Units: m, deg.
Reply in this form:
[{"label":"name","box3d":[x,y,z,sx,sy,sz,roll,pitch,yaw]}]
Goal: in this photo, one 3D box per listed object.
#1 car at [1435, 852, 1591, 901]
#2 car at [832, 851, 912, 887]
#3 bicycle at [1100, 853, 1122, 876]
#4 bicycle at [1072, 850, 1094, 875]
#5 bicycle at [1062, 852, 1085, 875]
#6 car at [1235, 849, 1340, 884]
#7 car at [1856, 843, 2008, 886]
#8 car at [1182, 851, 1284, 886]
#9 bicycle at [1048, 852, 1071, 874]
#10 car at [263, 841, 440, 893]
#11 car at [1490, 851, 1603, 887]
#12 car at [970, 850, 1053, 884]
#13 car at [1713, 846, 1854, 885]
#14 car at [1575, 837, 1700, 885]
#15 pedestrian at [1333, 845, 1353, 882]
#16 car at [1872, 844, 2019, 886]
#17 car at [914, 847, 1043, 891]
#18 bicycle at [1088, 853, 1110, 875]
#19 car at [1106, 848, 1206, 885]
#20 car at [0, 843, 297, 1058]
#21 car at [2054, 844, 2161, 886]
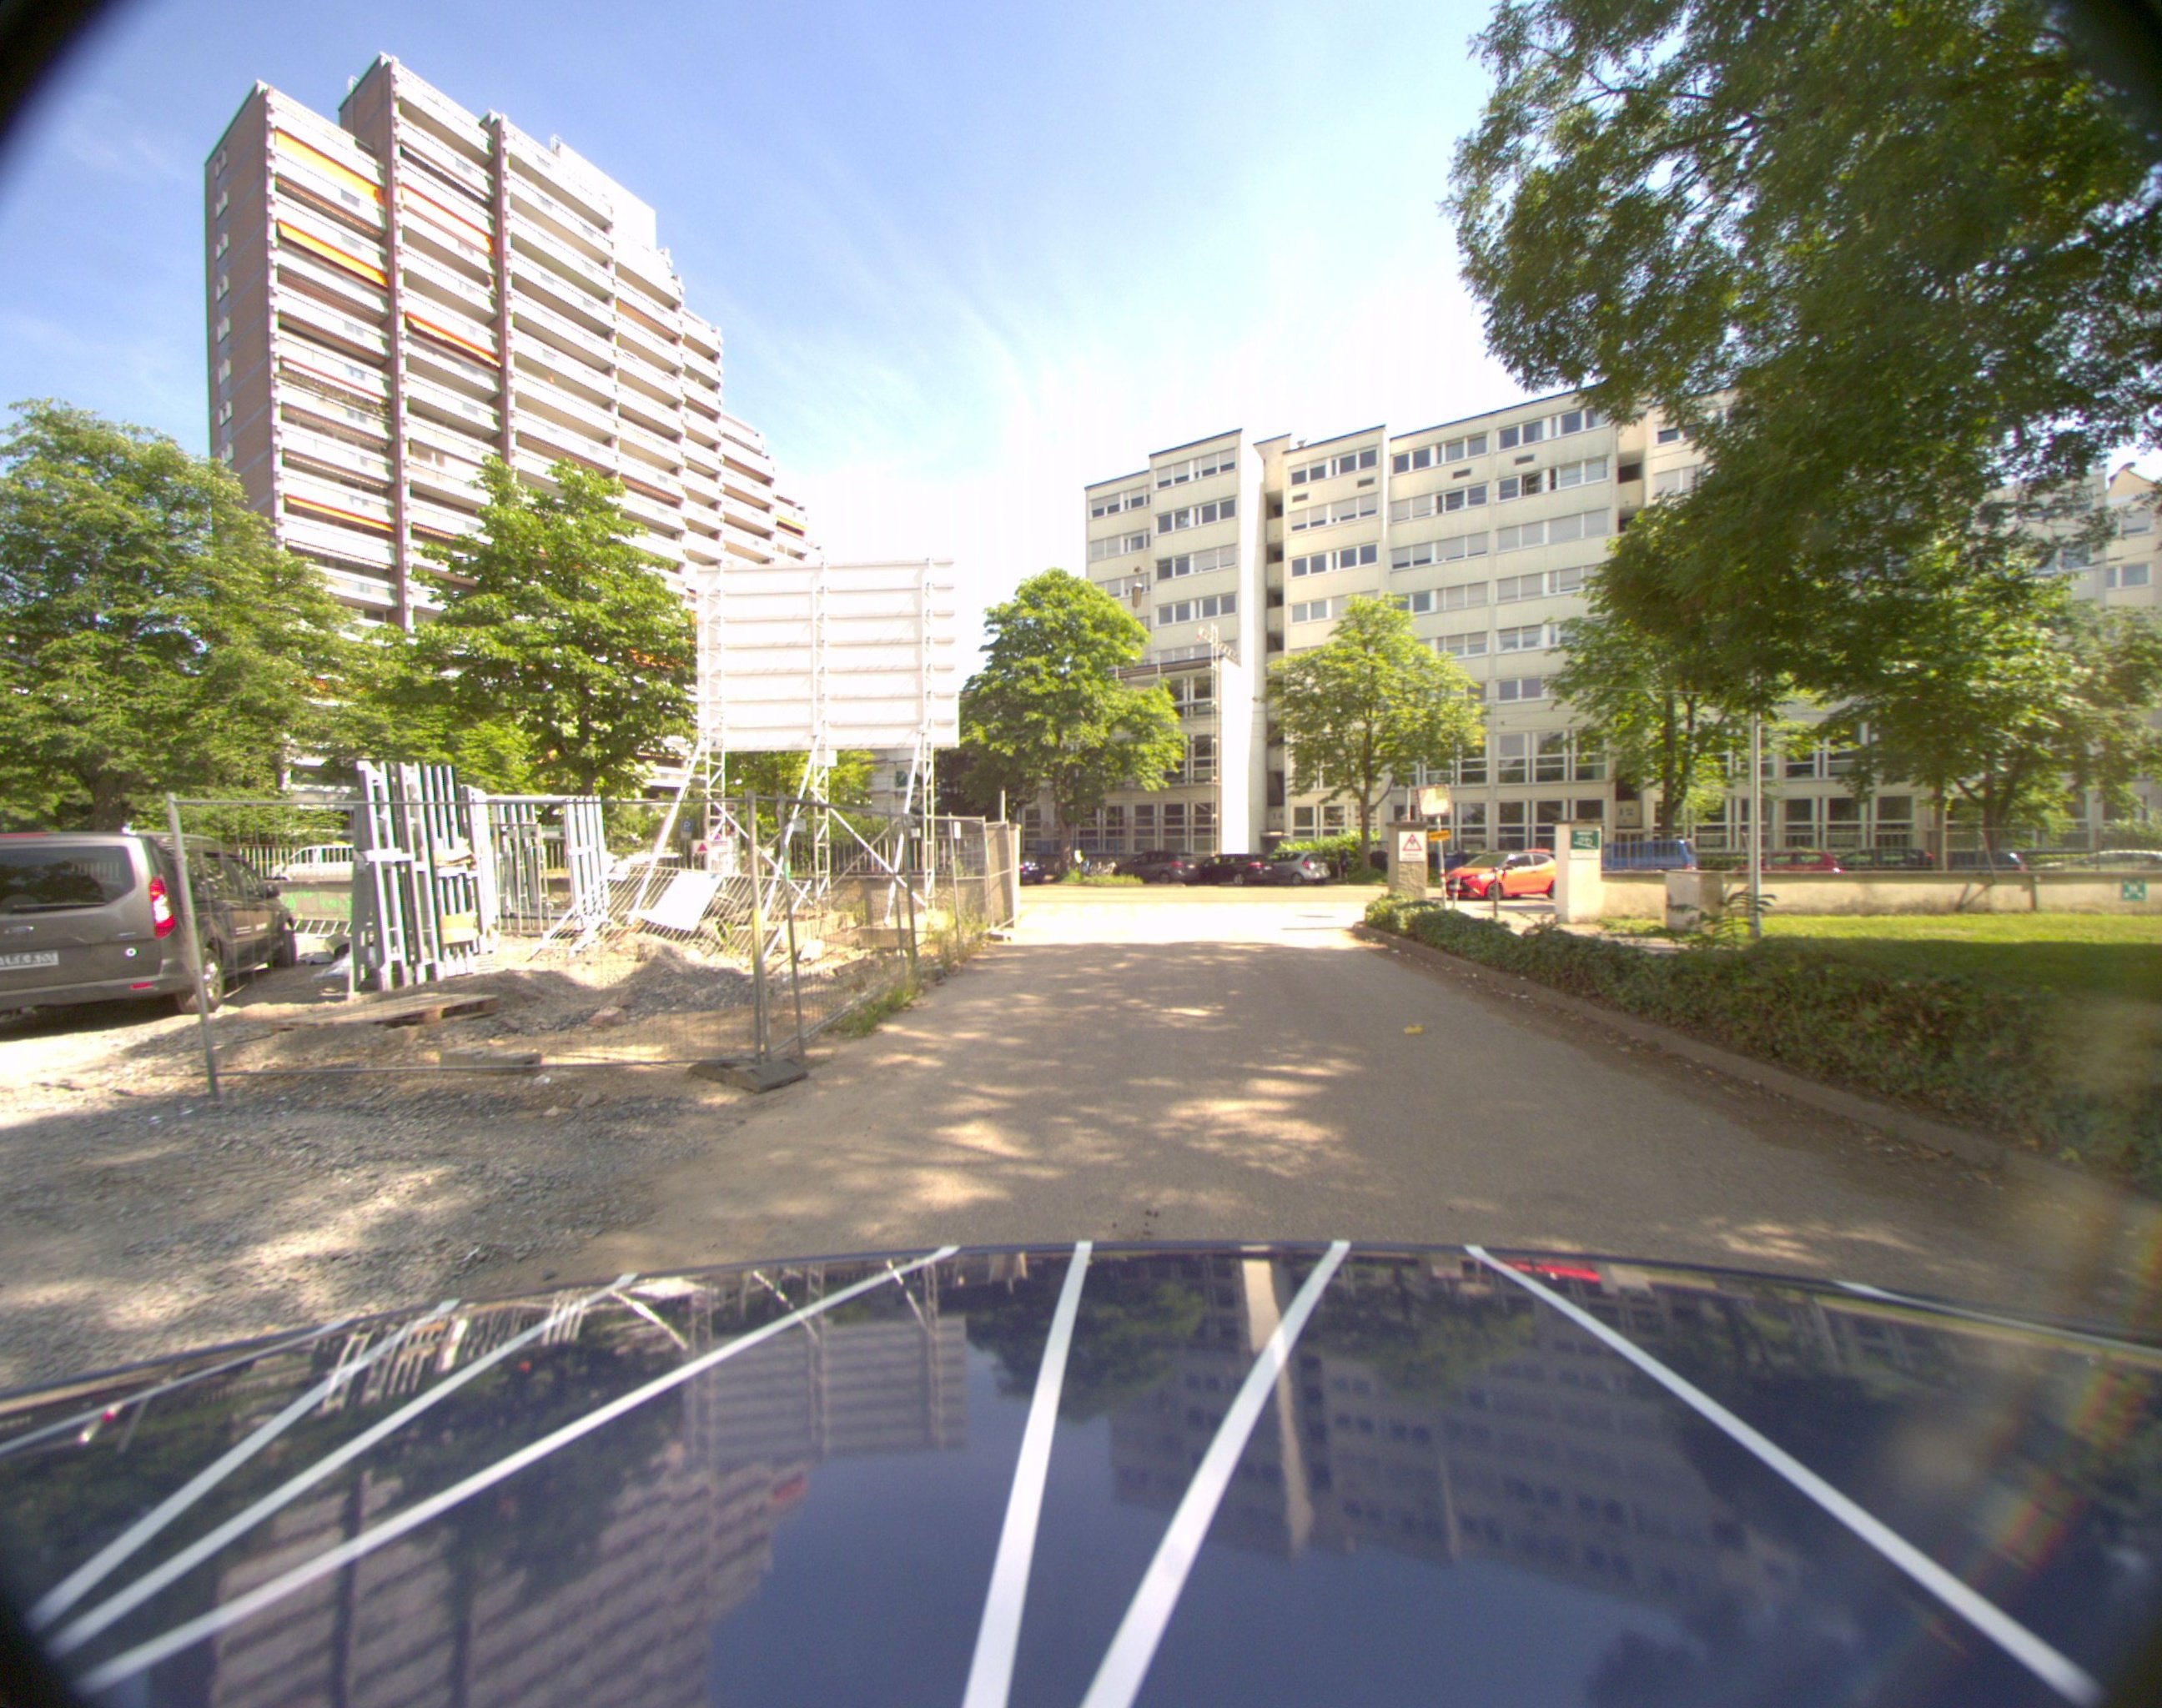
[{"label":"car","box3d":[13.226,0.657,23.326,4.177,1.404,1.660,0,0,-14]},{"label":"car","box3d":[-9.670,0.642,34.974,1.846,1.402,4.135,-3,3,-42]},{"label":"bicycle","box3d":[1.641,0.557,41.176,0.488,1.193,2.020,0,1,23]},{"label":"bicycle","box3d":[0.120,0.457,41.862,0.488,1.370,2.020,0,1,23]},{"label":"bicycle","box3d":[-0.402,0.518,42.048,0.488,1.193,2.020,0,1,23]},{"label":"car","box3d":[9.328,0.543,34.573,1.806,1.477,4.327,-1,0,-41]},{"label":"car","box3d":[34.053,0.422,30.542,1.807,1.630,3.989,0,-1,-42]},{"label":"car","box3d":[6.775,0.618,34.151,1.805,1.467,4.173,-1,0,-44]},{"label":"bicycle","box3d":[-1.194,0.494,42.522,0.488,1.193,2.020,0,1,22]},{"label":"car","box3d":[-28.502,0.487,29.788,5.243,1.934,1.997,0,0,4]},{"label":"car","box3d":[20.083,0.593,32.949,1.713,1.455,3.840,-1,0,-30]},{"label":"car","box3d":[-3.208,0.558,34.637,1.657,1.443,3.988,-1,1,-43]},{"label":"car","box3d":[29.711,0.492,32.233,1.786,1.529,4.208,0,-1,-42]},{"label":"car","box3d":[23.568,0.298,32.265,1.791,1.895,3.989,0,0,-42]},{"label":"pedestrian","box3d":[12.938,0.461,37.466,0.752,1.766,0.732,0,1,2]},{"label":"car","box3d":[36.022,0.466,31.791,1.836,1.630,3.989,0,-1,-42]},{"label":"car","box3d":[-3.724,0.542,28.053,4.385,1.512,1.944,-1,0,4]},{"label":"bicycle","box3d":[0.989,0.536,41.421,0.488,1.193,2.020,0,1,23]},{"label":"car","box3d":[3.339,0.541,34.491,1.812,1.556,4.378,-1,1,-43]},{"label":"car","box3d":[-10.281,0.806,8.073,1.925,1.770,4.301,-3,2,-36]},{"label":"car","box3d":[43.300,0.433,31.264,1.833,1.652,3.989,-1,0,-38]}]
